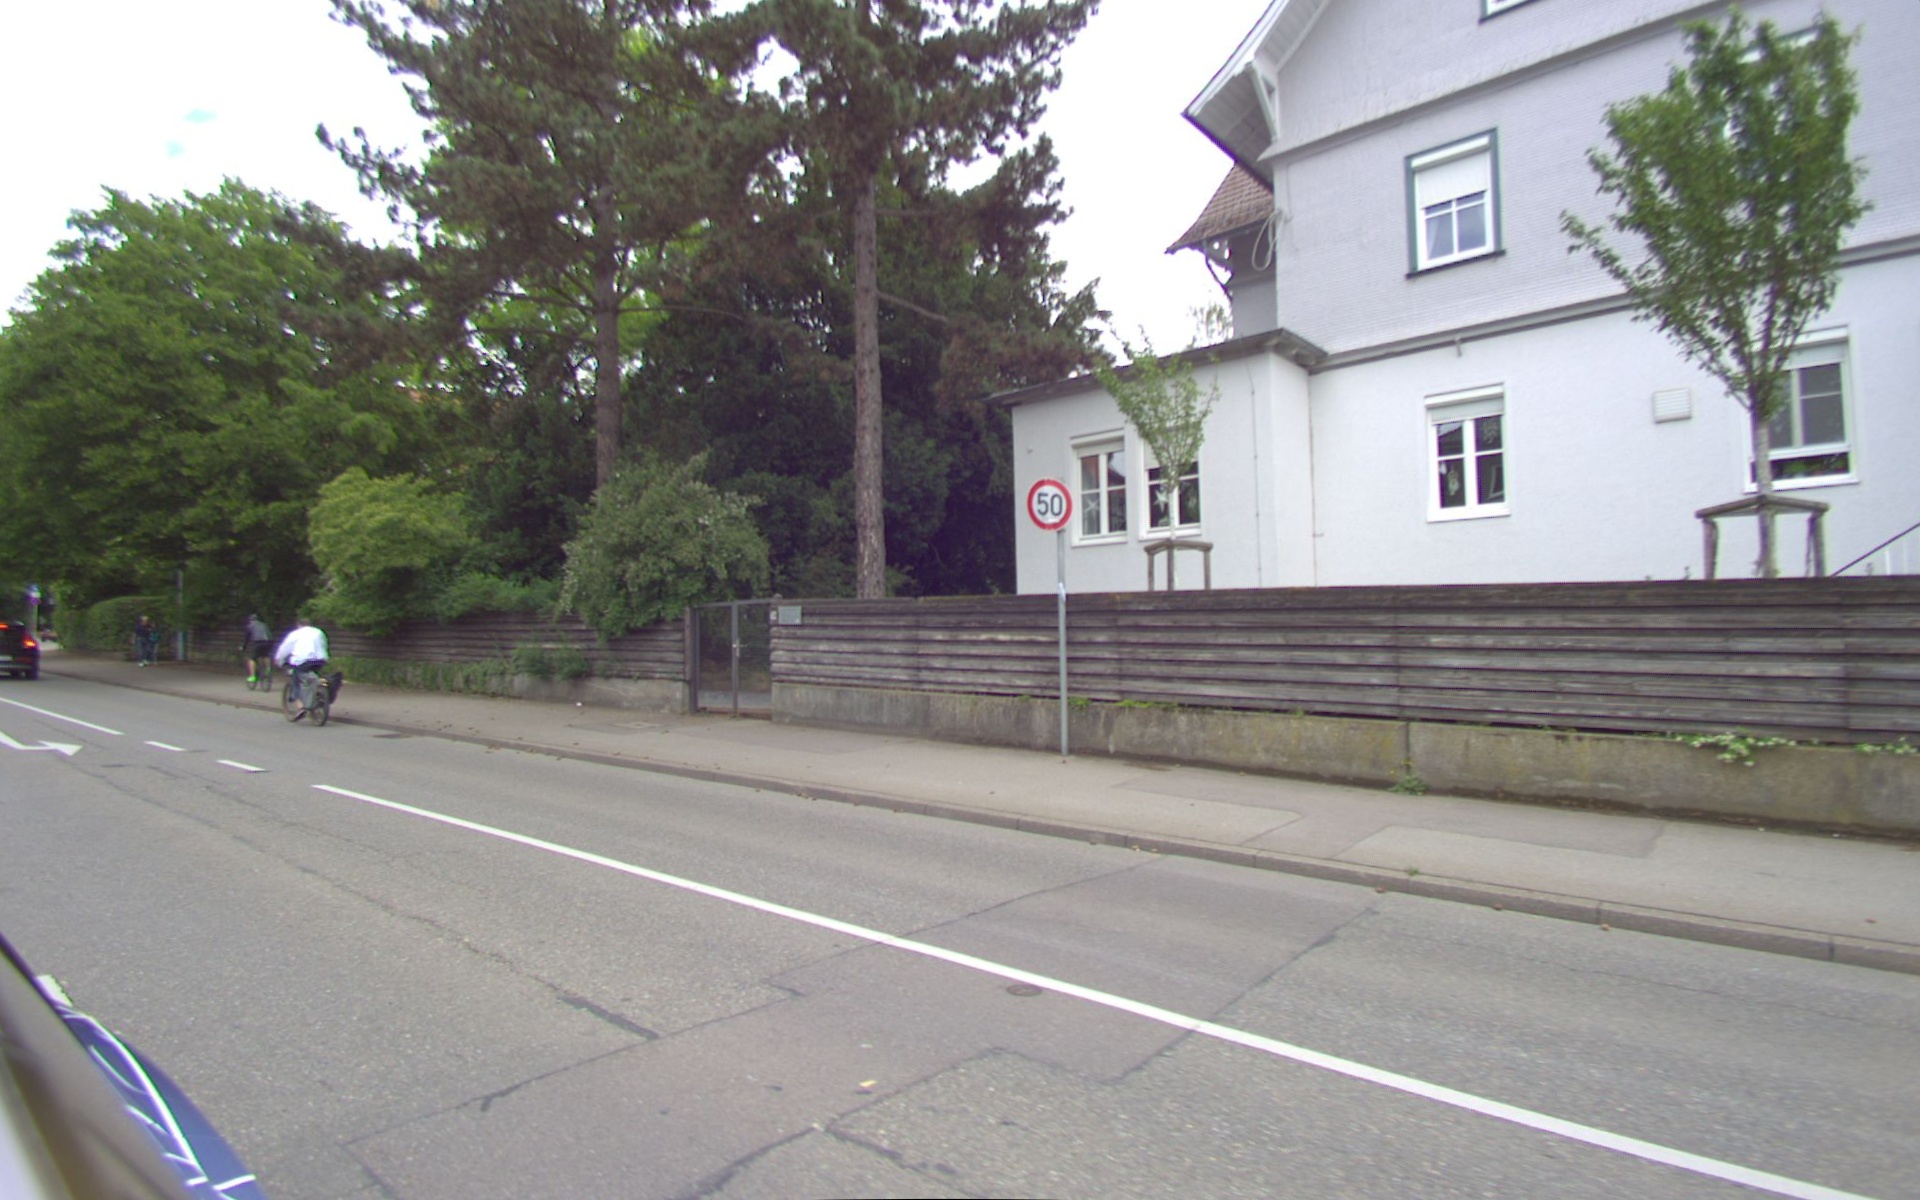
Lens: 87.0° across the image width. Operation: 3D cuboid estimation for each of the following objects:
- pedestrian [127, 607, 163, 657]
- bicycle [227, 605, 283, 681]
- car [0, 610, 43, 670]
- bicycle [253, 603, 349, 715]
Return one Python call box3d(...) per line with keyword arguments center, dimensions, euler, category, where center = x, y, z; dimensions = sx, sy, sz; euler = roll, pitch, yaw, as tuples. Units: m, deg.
box3d(center=(-27.954, 1.091, 34.720), dimensions=(0.915, 1.674, 0.625), euler=(0, -1, 27), category="pedestrian")
box3d(center=(-16.179, 0.961, 23.205), dimensions=(1.979, 1.689, 0.556), euler=(-1, -1, 40), category="bicycle")
box3d(center=(-27.666, 1.107, 28.794), dimensions=(4.281, 1.643, 1.812), euler=(-1, -3, 42), category="car")
box3d(center=(-10.950, 0.958, 16.801), dimensions=(1.870, 1.758, 0.751), euler=(-1, -4, 40), category="bicycle")
